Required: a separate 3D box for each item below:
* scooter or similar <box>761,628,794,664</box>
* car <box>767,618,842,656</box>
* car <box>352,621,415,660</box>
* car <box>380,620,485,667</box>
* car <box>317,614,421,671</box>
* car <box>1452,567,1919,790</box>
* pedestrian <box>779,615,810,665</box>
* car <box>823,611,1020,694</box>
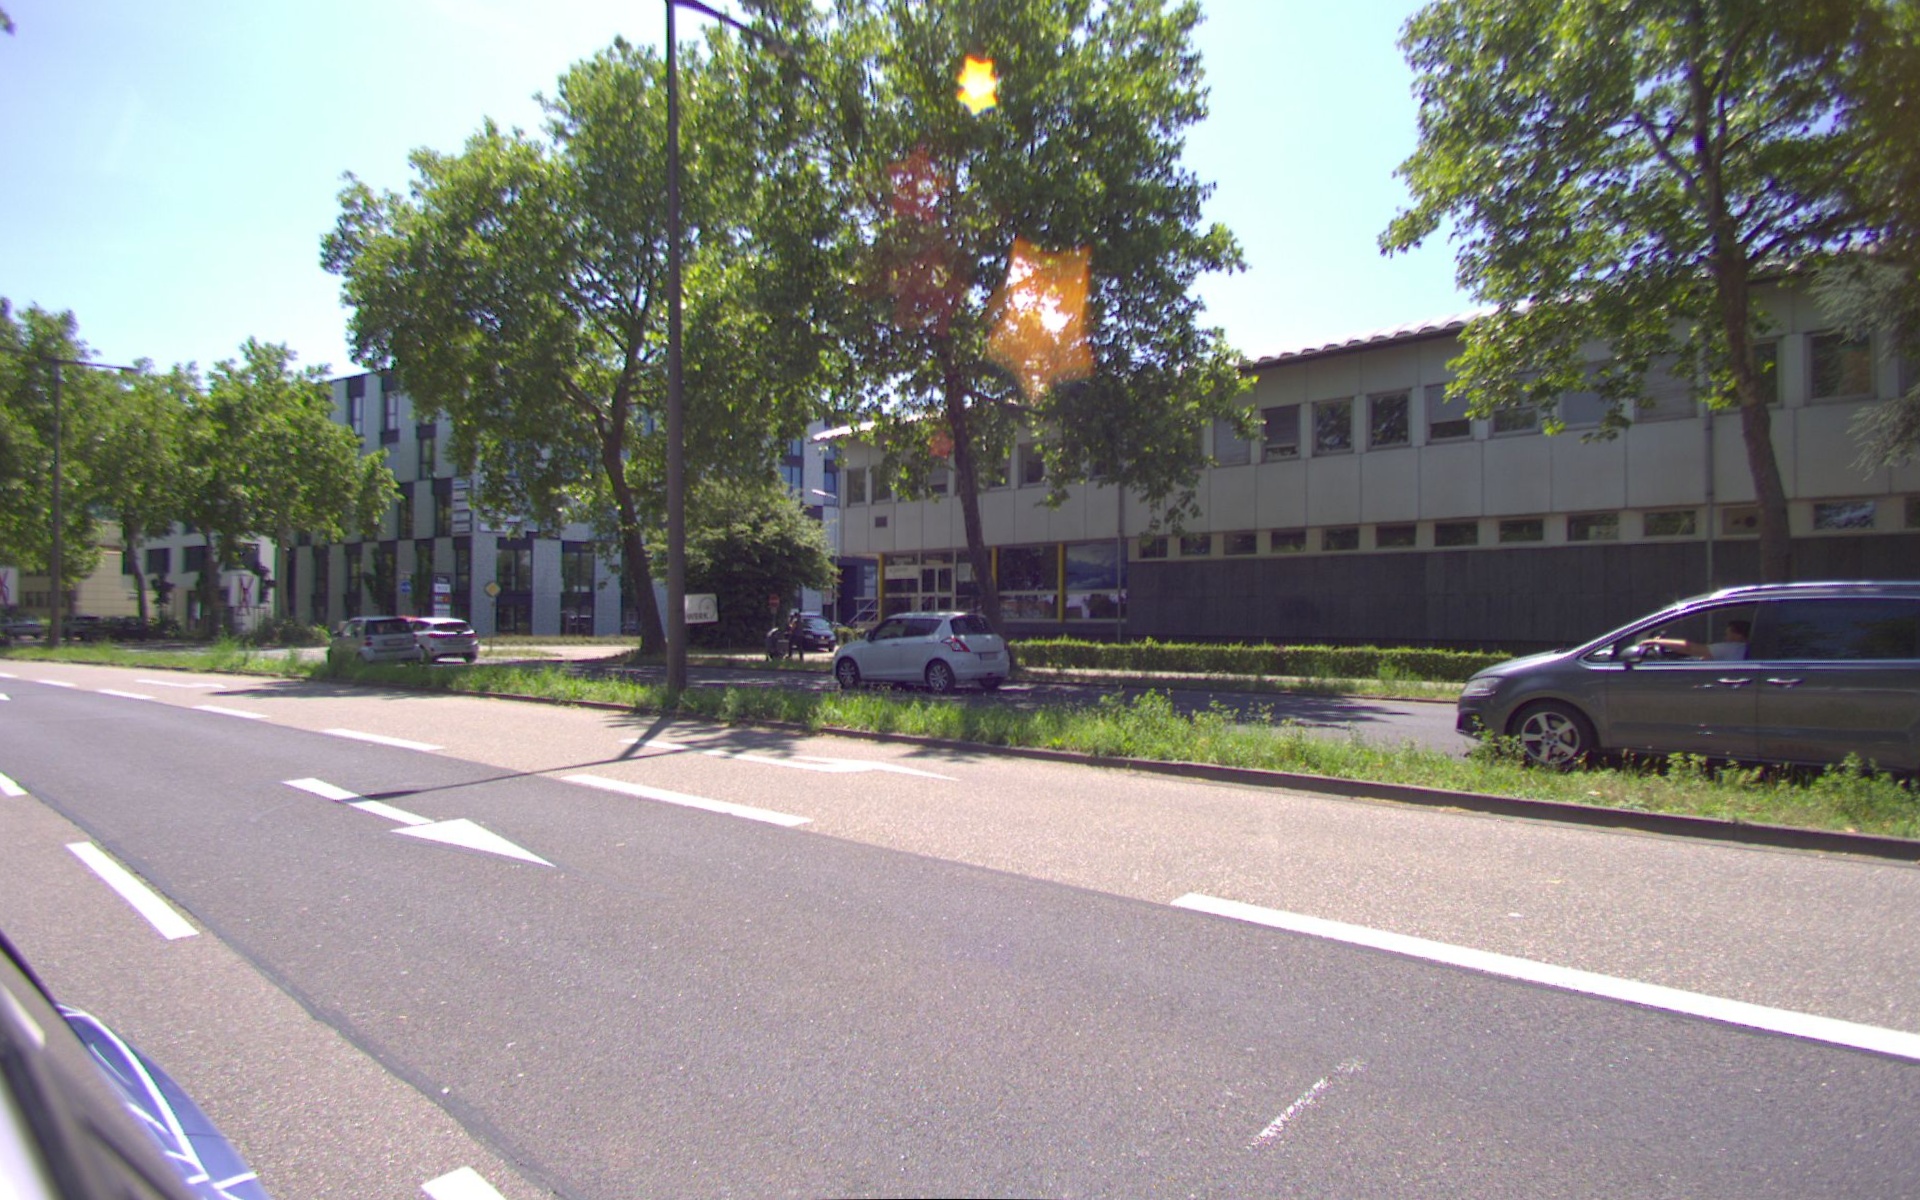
[{"bbox_3d":[-6.017,1.505,33.315,0.858,1.172,0.671,-1,-2,39],"label":"scooter or similar"},{"bbox_3d":[-7.456,1.733,48.353,3.528,1.660,1.795,-1,0,44],"label":"car"},{"bbox_3d":[-22.853,1.565,40.077,1.650,1.472,3.537,1,-2,-38],"label":"car"},{"bbox_3d":[-17.217,1.389,32.980,3.668,1.454,1.734,-1,-2,39],"label":"car"},{"bbox_3d":[-16.851,1.196,28.845,2.847,1.540,1.519,-1,-2,35],"label":"car"},{"bbox_3d":[7.087,0.621,8.916,4.619,1.668,1.929,-1,-2,41],"label":"car"},{"bbox_3d":[-5.367,1.291,32.799,0.790,1.572,0.635,-1,-2,39],"label":"pedestrian"},{"bbox_3d":[-0.806,0.984,19.769,3.671,1.470,1.714,-1,-2,41],"label":"car"}]
